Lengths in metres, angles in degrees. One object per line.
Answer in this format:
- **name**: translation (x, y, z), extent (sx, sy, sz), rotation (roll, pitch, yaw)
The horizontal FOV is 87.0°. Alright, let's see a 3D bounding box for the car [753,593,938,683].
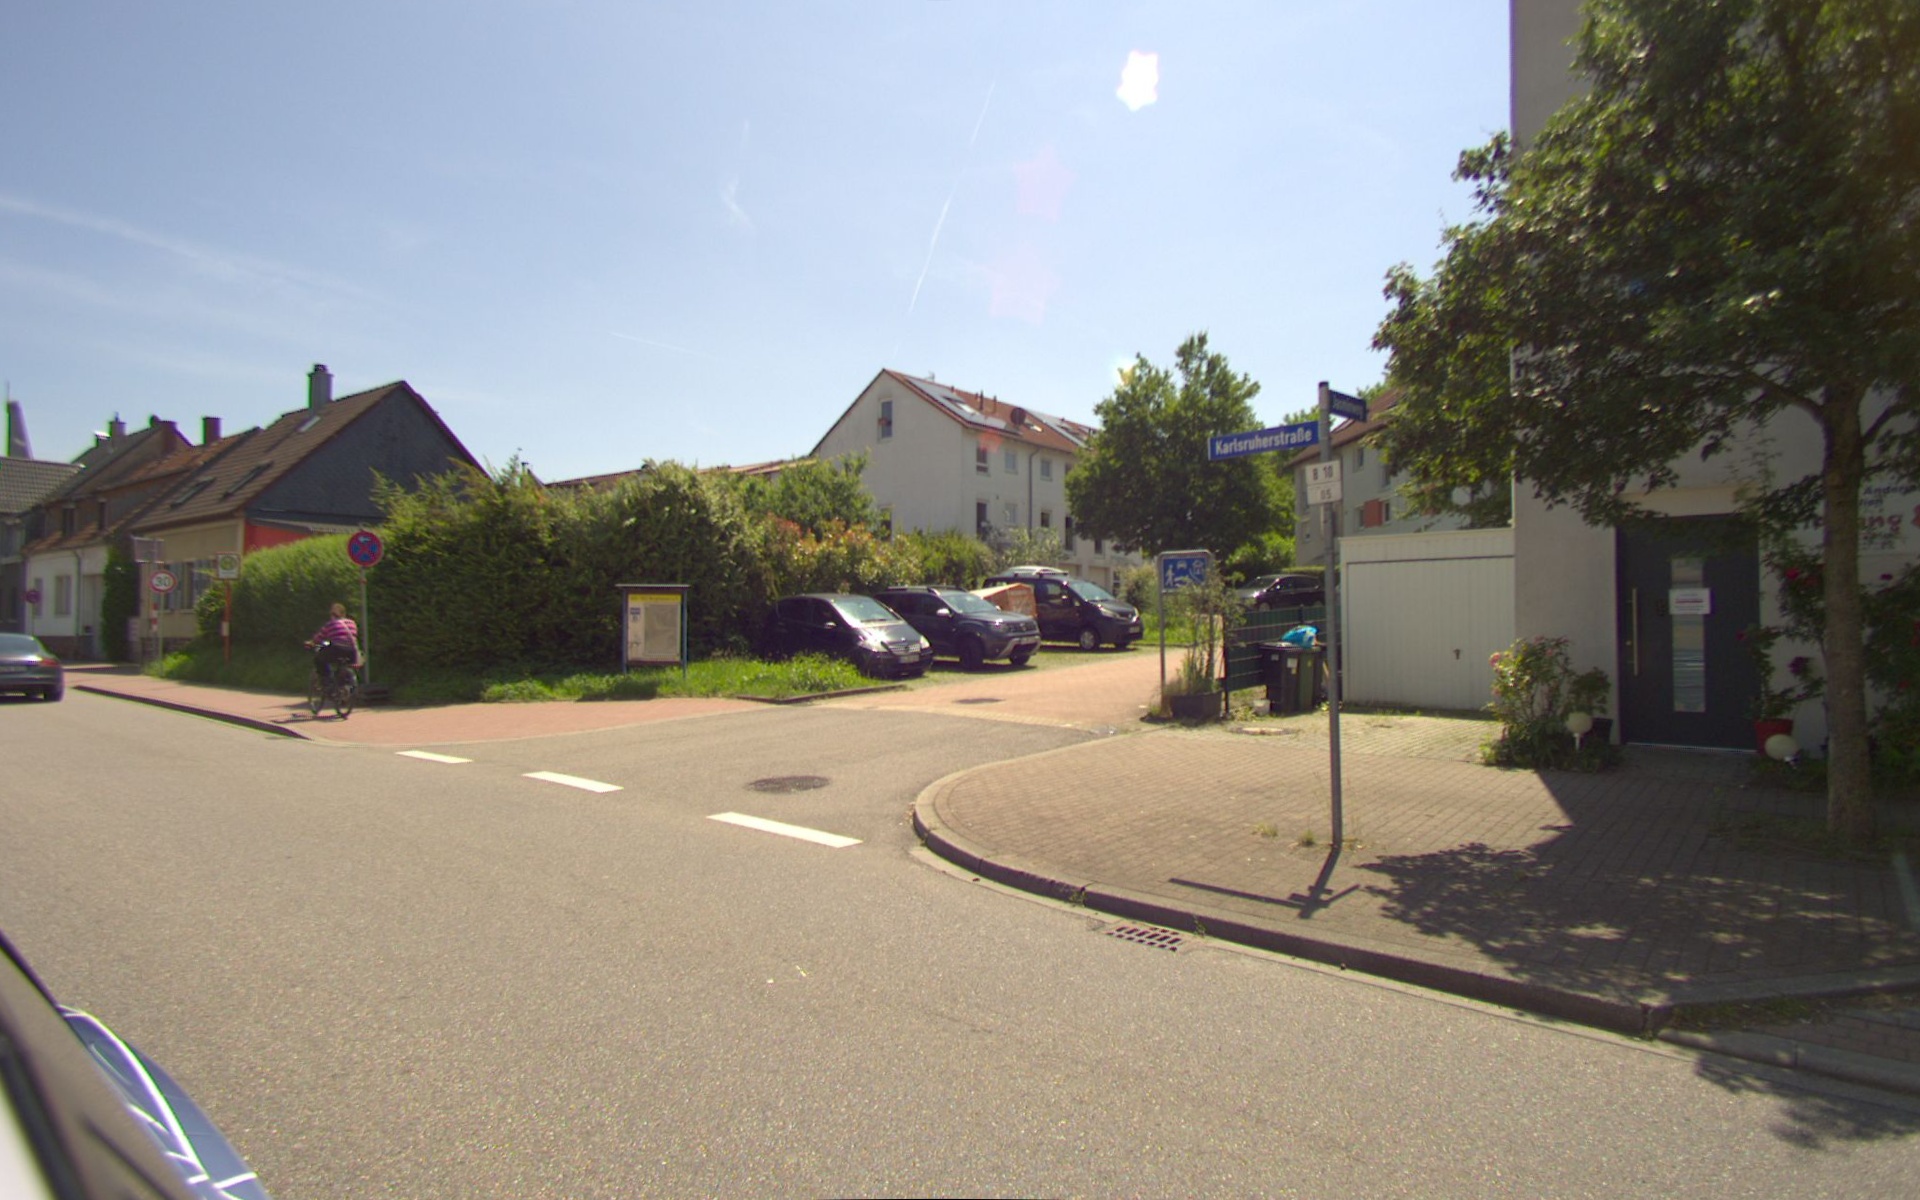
- **car**: translation (-2.298, 0.696, 19.775), extent (3.653, 1.552, 1.605), rotation (-1, 1, 44)

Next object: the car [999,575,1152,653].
- **car**: translation (2.846, 0.344, 25.373), extent (3.552, 1.794, 1.605), rotation (-1, 1, 44)

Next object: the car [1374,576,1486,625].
- **car**: translation (14.870, -0.006, 31.935), extent (3.937, 1.439, 1.695), rotation (-2, 0, -41)

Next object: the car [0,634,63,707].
- **car**: translation (-19.527, 1.370, 20.347), extent (3.867, 1.381, 1.688), rotation (-2, -4, 41)

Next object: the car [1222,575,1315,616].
- **car**: translation (11.602, -0.153, 38.003), extent (3.580, 1.463, 1.595), rotation (-1, -1, -38)

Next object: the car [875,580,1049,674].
- **car**: translation (-0.014, 0.536, 21.410), extent (3.511, 1.793, 1.605), rotation (-1, 1, 44)

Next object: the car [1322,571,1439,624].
- **car**: translation (14.149, -0.112, 34.005), extent (3.933, 1.635, 1.754), rotation (-2, 1, -33)

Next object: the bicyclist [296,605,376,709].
- **bicyclist**: translation (-9.504, 0.852, 15.415), extent (0.906, 1.505, 0.654), rotation (-1, 1, 31)

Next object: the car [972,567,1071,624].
- **car**: translation (2.055, -0.153, 32.973), extent (1.419, 1.747, 3.594), rotation (-1, 1, 38)

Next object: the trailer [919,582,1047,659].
- **trailer**: translation (0.531, 0.479, 24.211), extent (2.688, 1.676, 1.413), rotation (-1, 2, 37)

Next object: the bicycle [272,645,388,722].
- **bicycle**: translation (-9.690, 1.253, 15.545), extent (2.019, 1.064, 0.666), rotation (-1, 1, 32)
